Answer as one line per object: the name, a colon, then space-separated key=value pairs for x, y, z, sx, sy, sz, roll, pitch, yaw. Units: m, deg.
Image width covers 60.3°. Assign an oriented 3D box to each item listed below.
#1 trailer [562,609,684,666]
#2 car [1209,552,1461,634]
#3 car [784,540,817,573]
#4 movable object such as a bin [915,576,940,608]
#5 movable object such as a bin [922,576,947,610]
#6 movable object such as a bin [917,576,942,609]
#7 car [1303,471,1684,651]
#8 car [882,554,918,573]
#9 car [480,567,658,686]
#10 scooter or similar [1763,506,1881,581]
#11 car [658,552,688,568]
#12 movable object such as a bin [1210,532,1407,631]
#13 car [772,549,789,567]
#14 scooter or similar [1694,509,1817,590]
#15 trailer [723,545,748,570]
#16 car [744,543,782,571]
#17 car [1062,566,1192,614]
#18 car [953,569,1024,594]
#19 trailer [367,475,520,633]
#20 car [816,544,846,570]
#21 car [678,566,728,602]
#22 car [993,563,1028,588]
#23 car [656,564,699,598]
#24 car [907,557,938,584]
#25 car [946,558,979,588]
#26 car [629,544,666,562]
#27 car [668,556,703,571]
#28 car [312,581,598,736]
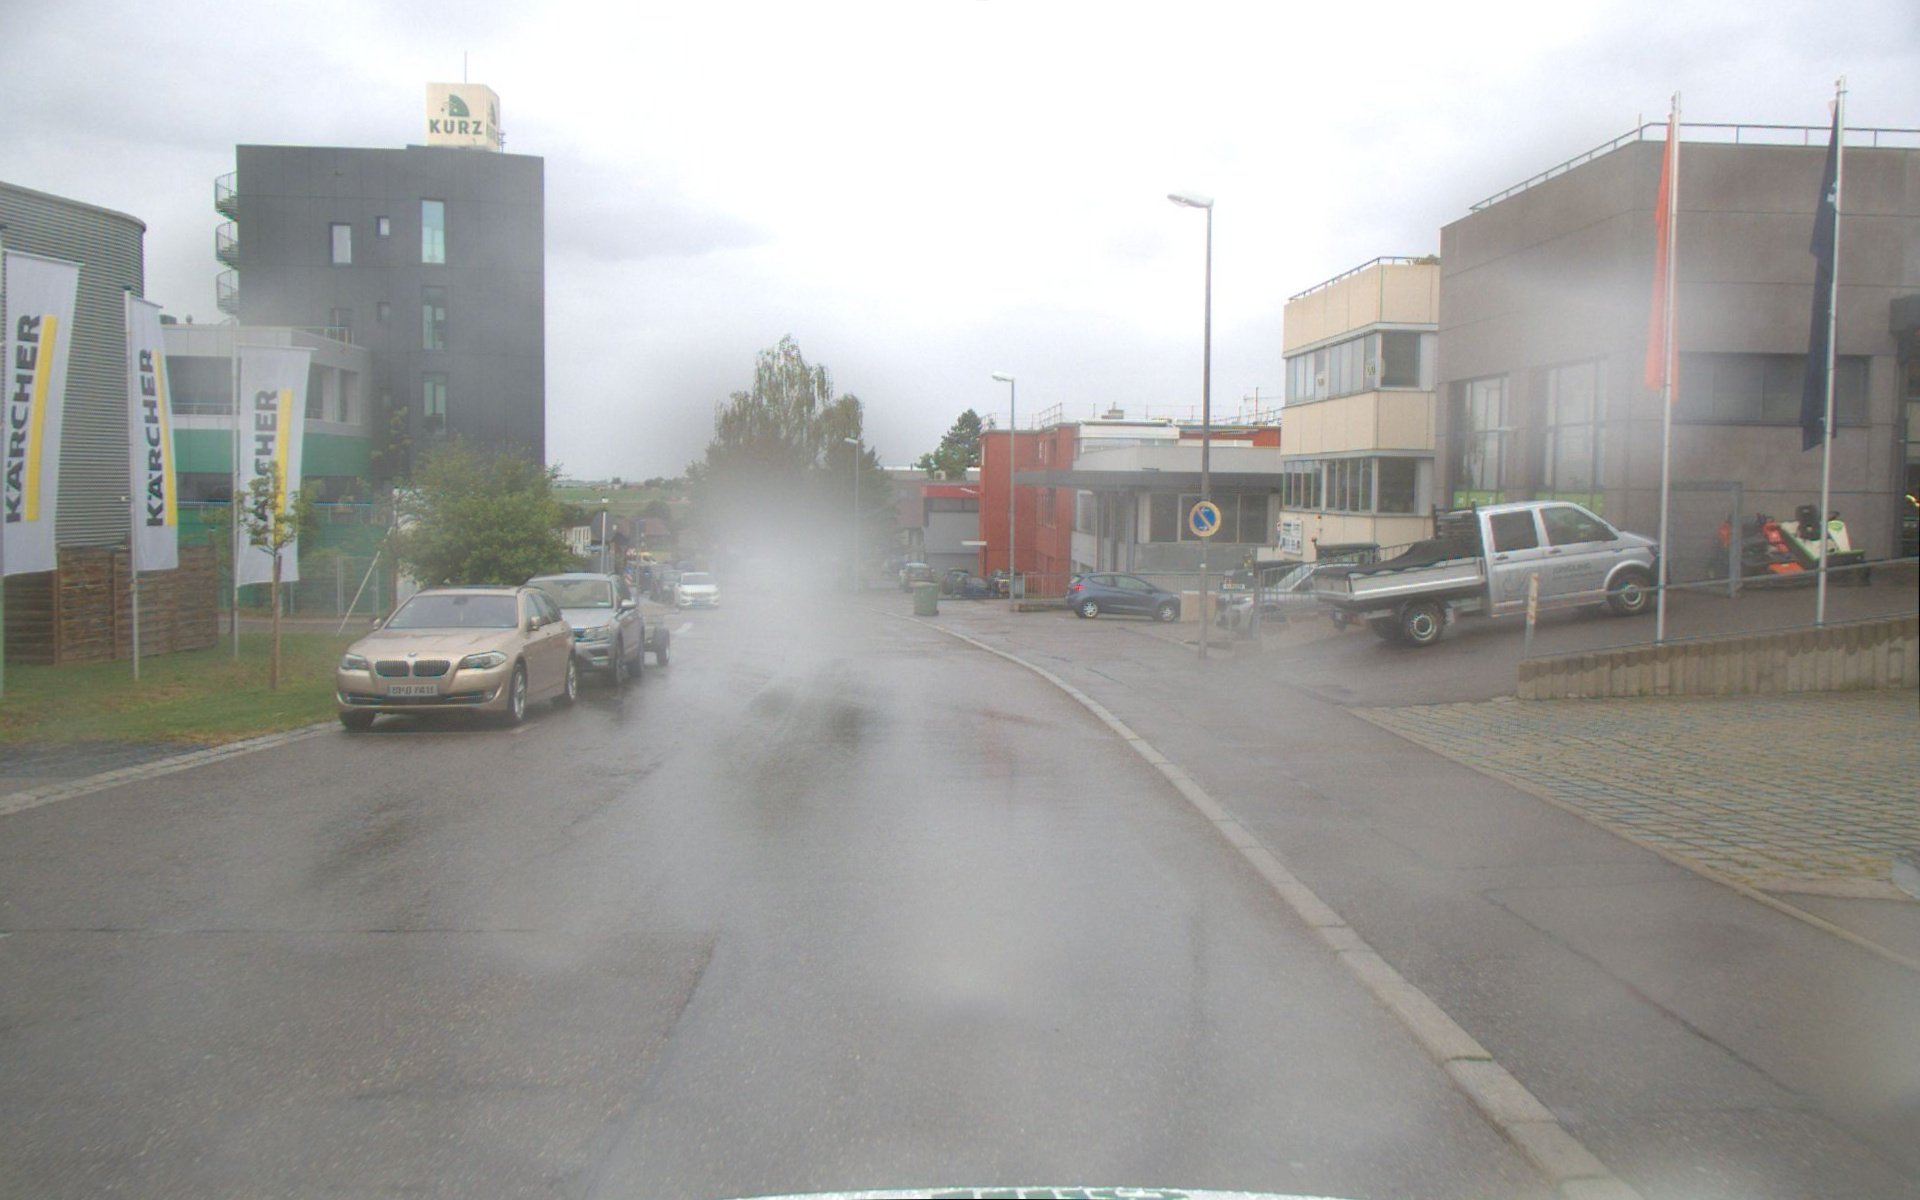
trailer: x=-5.991 y=0.636 z=29.760 sx=1.647 sy=0.904 sz=3.894 roll=0 pitch=0 yaw=-4
car: x=8.060 y=-0.171 z=35.786 sx=4.991 sy=1.641 sz=1.924 roll=-1 pitch=2 yaw=-4
car: x=-12.663 y=-3.453 z=131.126 sx=2.154 sy=2.502 sz=3.989 roll=0 pitch=0 yaw=-11
movable object such as a bin: x=-1.152 y=-0.274 z=58.211 sx=0.794 sy=1.095 sz=0.580 roll=-1 pitch=1 yaw=-9
movable object such as a bin: x=-0.871 y=-0.245 z=56.446 sx=0.791 sy=1.111 sz=0.708 roll=-1 pitch=1 yaw=-9
movable object such as a bin: x=-1.071 y=-0.267 z=57.657 sx=0.794 sy=1.109 sz=0.540 roll=-1 pitch=1 yaw=-9
car: x=8.461 y=-0.618 z=26.555 sx=5.197 sy=2.047 sz=2.220 roll=-8 pitch=1 yaw=-3
car: x=-4.320 y=-2.627 z=118.840 sx=2.500 sy=1.375 sz=1.240 roll=0 pitch=1 yaw=-9
car: x=-5.860 y=0.350 z=25.379 sx=1.919 sy=1.604 sz=4.835 roll=-1 pitch=0 yaw=-5
scooter or similar: x=14.630 y=-0.953 z=28.140 sx=0.983 sy=1.175 sz=1.845 roll=-4 pitch=1 yaw=0
car: x=-31.331 y=-4.355 z=180.519 sx=1.972 sy=1.733 sz=3.960 roll=0 pitch=0 yaw=-30
movable object such as a bin: x=7.903 y=-0.439 z=37.684 sx=4.169 sy=2.147 sz=1.476 roll=-1 pitch=1 yaw=-3
car: x=-14.804 y=-3.439 z=136.589 sx=1.266 sy=1.449 sz=2.540 roll=0 pitch=0 yaw=-10
scooter or similar: x=13.439 y=-0.882 z=28.019 sx=1.043 sy=1.245 sz=2.065 roll=-4 pitch=3 yaw=0
trailer: x=-18.249 y=-3.441 z=134.333 sx=1.819 sy=2.048 sz=3.990 roll=0 pitch=1 yaw=-11
car: x=-15.581 y=-3.379 z=130.497 sx=2.230 sy=2.049 sz=3.979 roll=0 pitch=0 yaw=-19
car: x=5.276 y=-0.312 z=52.525 sx=3.818 sy=1.407 sz=1.819 roll=1 pitch=0 yaw=-4
car: x=1.338 y=-0.878 z=79.223 sx=3.332 sy=1.183 sz=1.791 roll=0 pitch=1 yaw=-2
trailer: x=-14.594 y=-1.268 z=46.685 sx=4.102 sy=4.276 sz=1.999 roll=0 pitch=1 yaw=35
car: x=-10.324 y=-3.425 z=132.255 sx=2.106 sy=2.049 sz=3.930 roll=0 pitch=0 yaw=-10
car: x=-11.388 y=-0.709 z=73.090 sx=1.740 sy=1.539 sz=4.129 roll=-1 pitch=1 yaw=-15
car: x=2.922 y=-1.412 z=96.866 sx=1.694 sy=1.446 sz=3.997 roll=0 pitch=0 yaw=-4
car: x=-14.305 y=-0.985 z=83.682 sx=1.673 sy=1.637 sz=3.983 roll=-2 pitch=2 yaw=-16
car: x=-2.204 y=-1.722 z=96.845 sx=1.663 sy=1.501 sz=3.997 roll=0 pitch=0 yaw=-4
car: x=0.101 y=-1.579 z=97.670 sx=1.705 sy=1.682 sz=3.997 roll=0 pitch=0 yaw=-4
car: x=-39.355 y=-5.932 z=208.422 sx=4.152 sy=2.264 sz=2.001 roll=0 pitch=0 yaw=2
car: x=-29.068 y=-3.839 z=175.104 sx=2.434 sy=1.566 sz=3.960 roll=-1 pitch=0 yaw=-30
car: x=-5.572 y=0.542 z=19.012 sx=1.917 sy=1.486 sz=5.245 roll=0 pitch=1 yaw=-3
